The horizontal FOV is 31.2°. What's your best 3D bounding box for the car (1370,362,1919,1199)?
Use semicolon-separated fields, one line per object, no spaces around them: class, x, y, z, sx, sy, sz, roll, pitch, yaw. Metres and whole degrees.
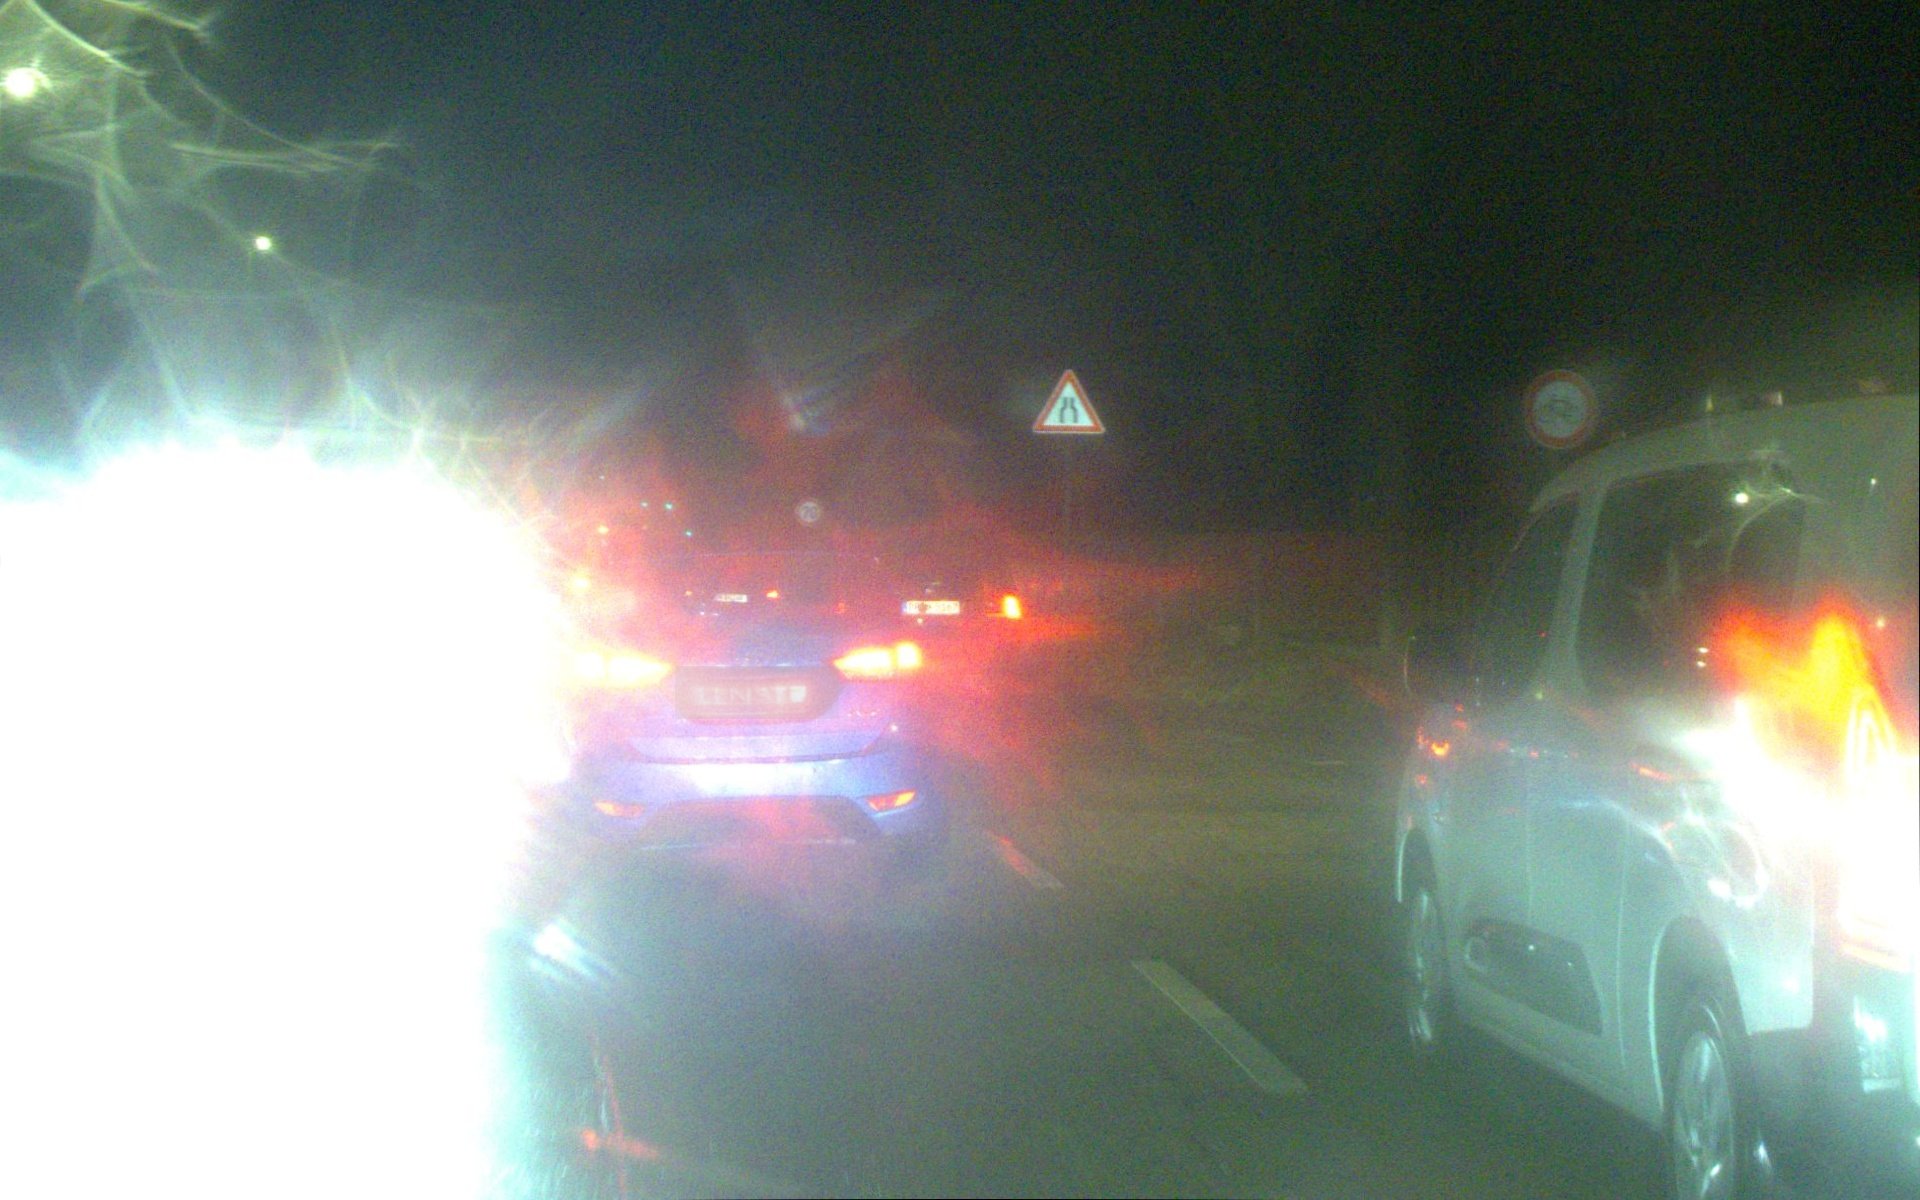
car;2.232;0.467;7.987;1.851;1.858;4.341;0;2;-3

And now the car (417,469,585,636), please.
car;-5.773;-0.633;43.406;1.993;2.006;4.001;0;2;-7

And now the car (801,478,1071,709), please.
car;-0.296;-0.115;32.443;1.968;2.040;4.001;0;2;-9

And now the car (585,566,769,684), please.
car;-4.526;0.364;54.492;1.993;1.712;4.001;-1;2;-19

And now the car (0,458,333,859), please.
car;-4.420;0.280;18.418;2.014;1.880;4.453;0;0;-11

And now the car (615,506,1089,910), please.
car;-0.523;0.397;16.845;2.014;1.711;4.452;0;2;-2

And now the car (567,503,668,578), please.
car;-7.566;-1.344;76.190;1.993;1.628;4.001;0;2;-2
